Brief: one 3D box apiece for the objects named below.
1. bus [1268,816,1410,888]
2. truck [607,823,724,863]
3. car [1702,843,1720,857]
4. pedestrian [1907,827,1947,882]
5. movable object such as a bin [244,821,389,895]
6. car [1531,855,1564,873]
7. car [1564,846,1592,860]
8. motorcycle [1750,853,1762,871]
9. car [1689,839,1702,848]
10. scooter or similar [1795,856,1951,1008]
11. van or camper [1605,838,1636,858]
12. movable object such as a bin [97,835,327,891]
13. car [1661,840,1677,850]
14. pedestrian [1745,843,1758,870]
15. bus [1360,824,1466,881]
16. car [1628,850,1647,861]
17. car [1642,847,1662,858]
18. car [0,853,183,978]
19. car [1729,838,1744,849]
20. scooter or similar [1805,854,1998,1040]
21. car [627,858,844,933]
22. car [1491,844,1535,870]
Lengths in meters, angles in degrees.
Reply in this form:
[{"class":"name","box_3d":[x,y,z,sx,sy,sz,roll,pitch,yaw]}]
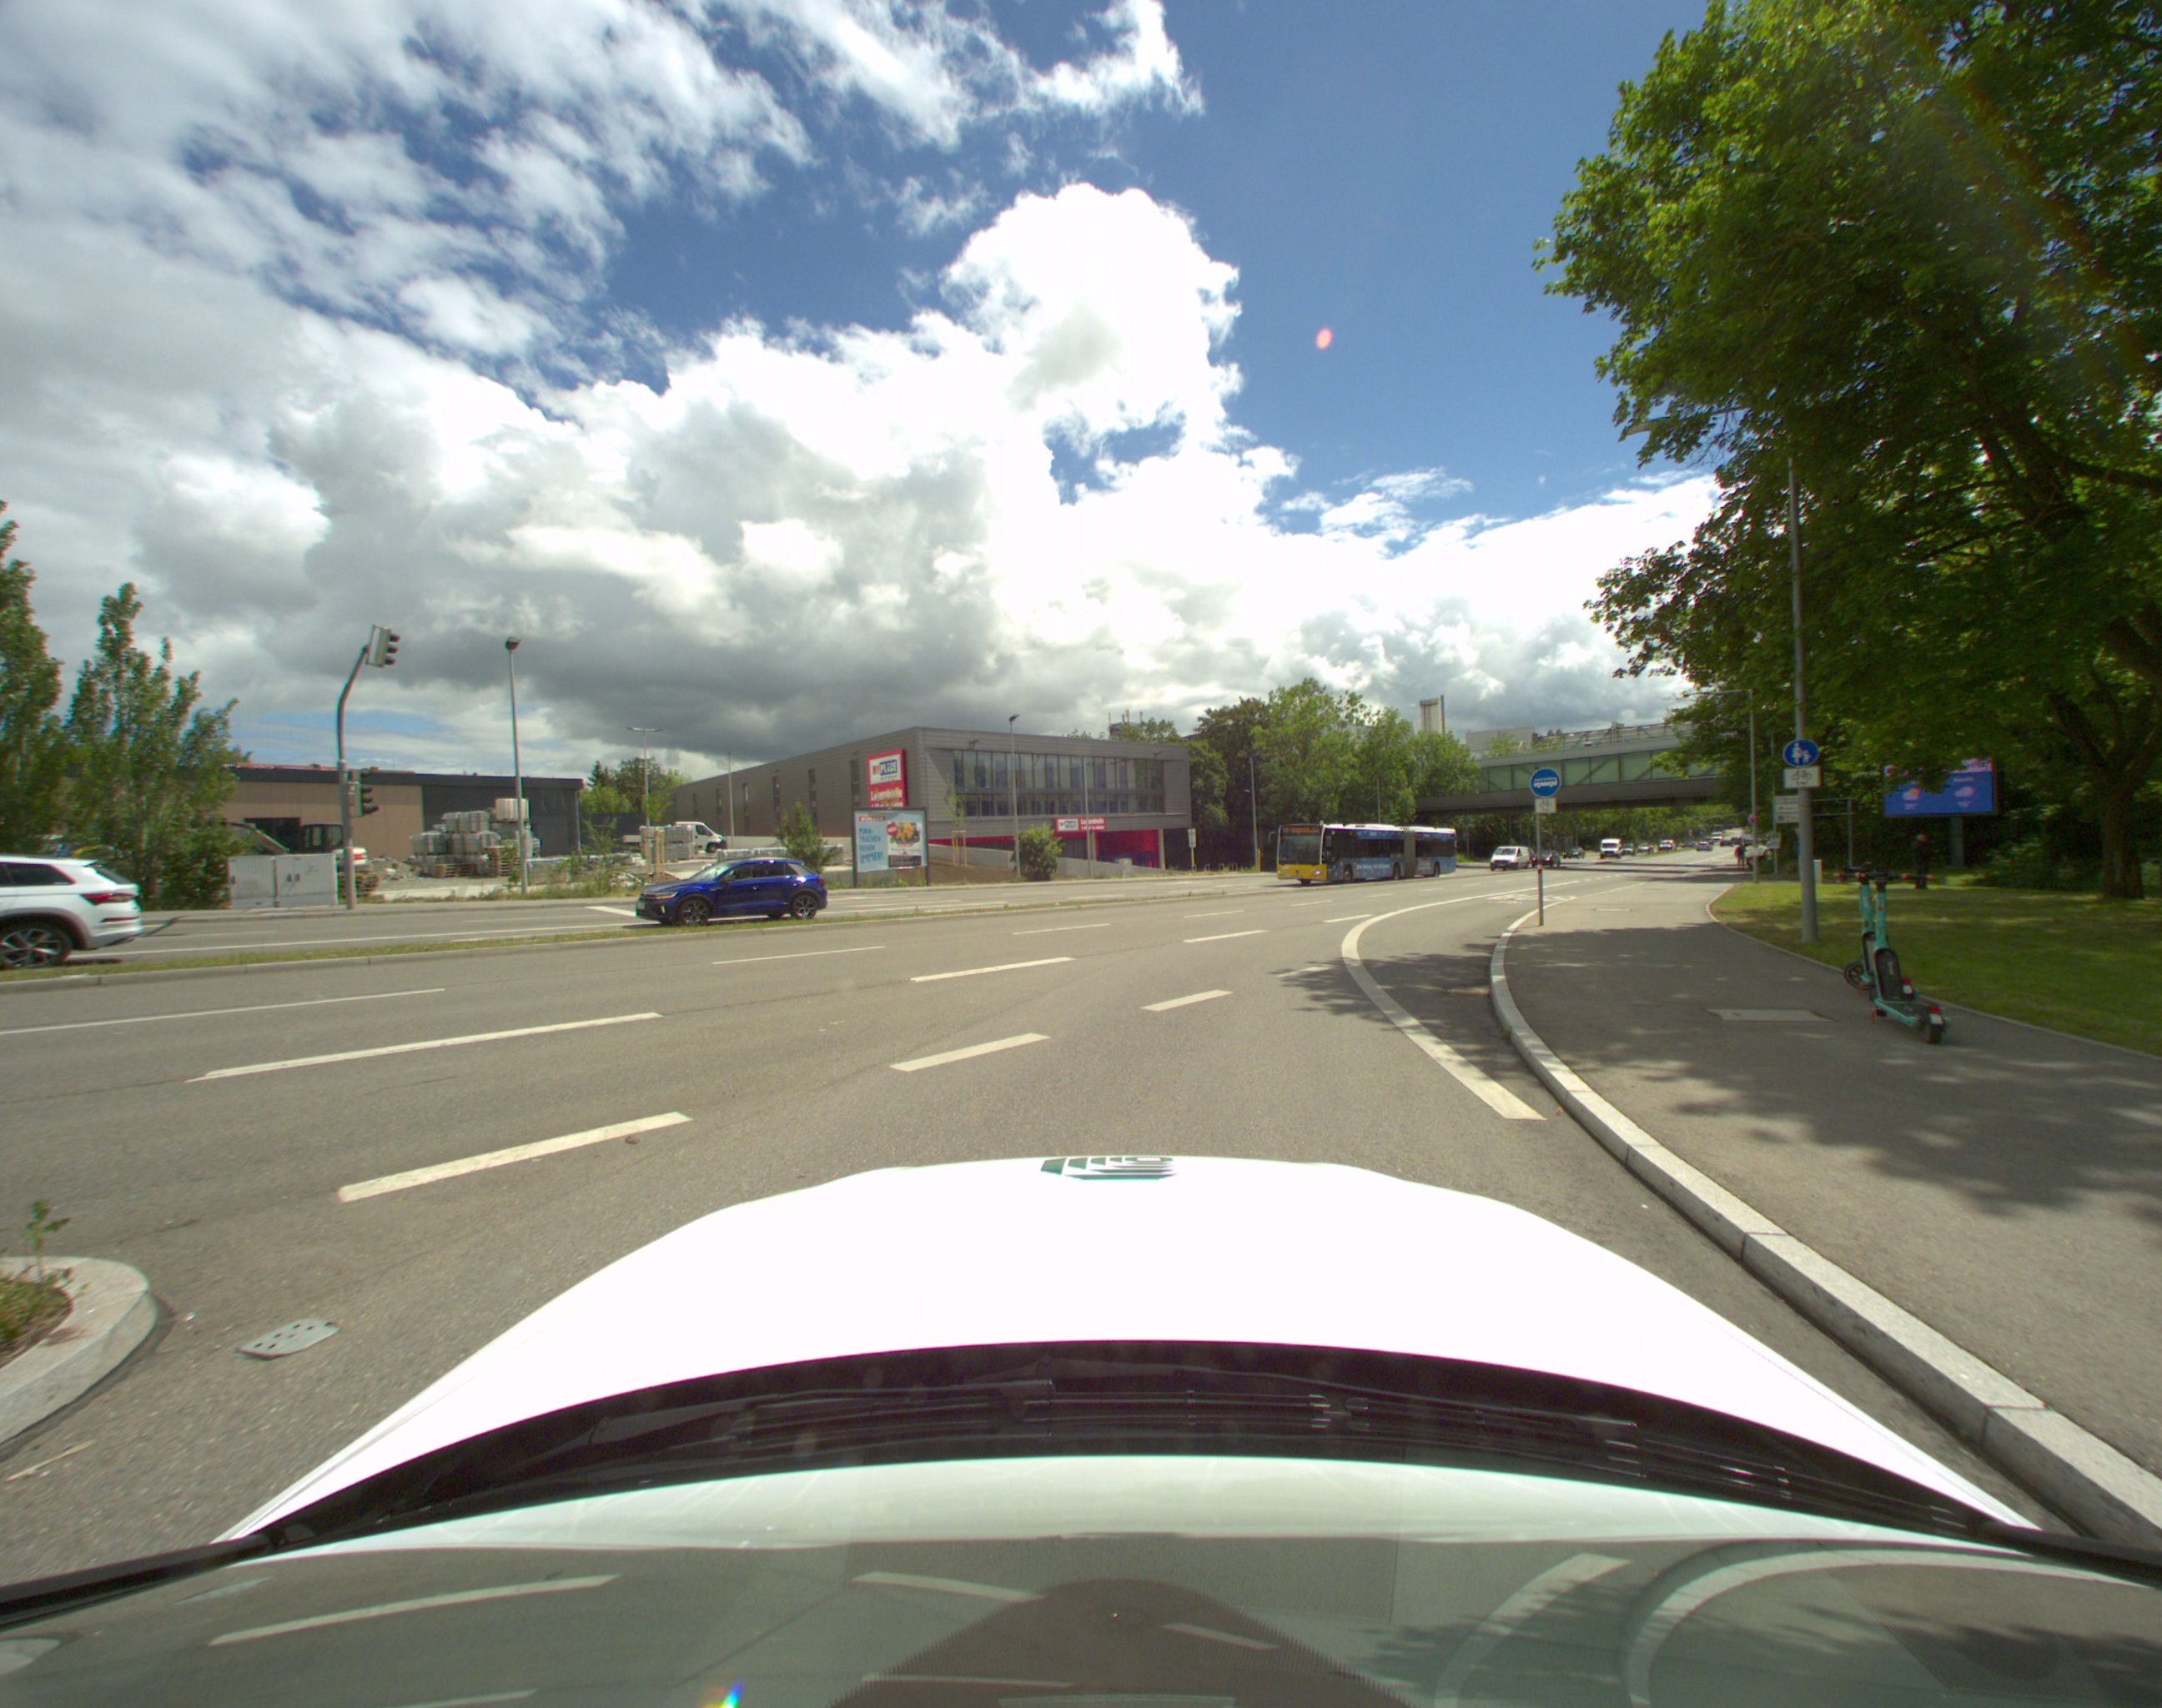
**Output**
[{"class":"bus","box_3d":[13.596,-0.091,42.183,2.789,3.285,10.180,0,0,44]},{"class":"truck","box_3d":[-27.473,-0.768,53.985,6.605,2.145,1.980,-6,3,-32]},{"class":"car","box_3d":[99.264,-0.613,128.304,1.911,1.771,4.026,-1,4,43]},{"class":"pedestrian","box_3d":[27.541,0.005,26.514,0.584,1.717,0.777,-3,3,16]},{"class":"movable object such as a bin","box_3d":[-27.842,0.141,29.815,3.424,2.538,2.133,0,-1,-29]},{"class":"car","box_3d":[41.768,0.871,72.848,1.622,1.471,3.798,0,0,45]},{"class":"car","box_3d":[63.982,-0.081,104.824,4.022,1.750,1.976,0,-1,-42]},{"class":"motorcycle","box_3d":[42.437,0.514,51.184,0.542,1.110,2.030,-2,-1,40]},{"class":"car","box_3d":[118.094,-2.002,156.453,1.684,1.698,3.948,0,0,42]},{"class":"scooter or similar","box_3d":[7.151,0.659,7.419,0.528,1.264,1.196,-3,-1,20]},{"class":"van or camper","box_3d":[66.265,-0.732,100.040,1.989,2.401,6.436,-1,0,44]},{"class":"movable object such as a bin","box_3d":[-40.747,0.336,38.591,6.974,2.013,2.272,-5,3,-34]},{"class":"car","box_3d":[98.208,-1.474,135.968,1.685,1.698,3.947,0,0,44]},{"class":"pedestrian","box_3d":[46.457,0.153,56.452,0.617,1.858,0.877,-1,-2,41]},{"class":"bus","box_3d":[20.198,-0.141,49.115,2.789,3.164,8.961,0,1,44]},{"class":"car","box_3d":[76.985,0.196,112.615,1.685,1.521,3.093,0,0,43]},{"class":"car","box_3d":[87.607,-0.275,124.881,1.975,1.662,4.024,-1,-1,44]},{"class":"car","box_3d":[-15.712,0.854,10.859,1.711,1.658,4.932,-1,0,39]},{"class":"car","box_3d":[122.598,-1.983,152.288,1.840,1.705,4.026,-2,5,42]},{"class":"scooter or similar","box_3d":[6.170,0.647,6.200,0.528,1.264,1.196,-3,-1,20]},{"class":"car","box_3d":[-8.154,0.896,19.489,1.788,1.511,4.424,0,1,45]},{"class":"car","box_3d":[33.852,0.191,63.767,1.860,1.925,4.779,0,0,43]}]
